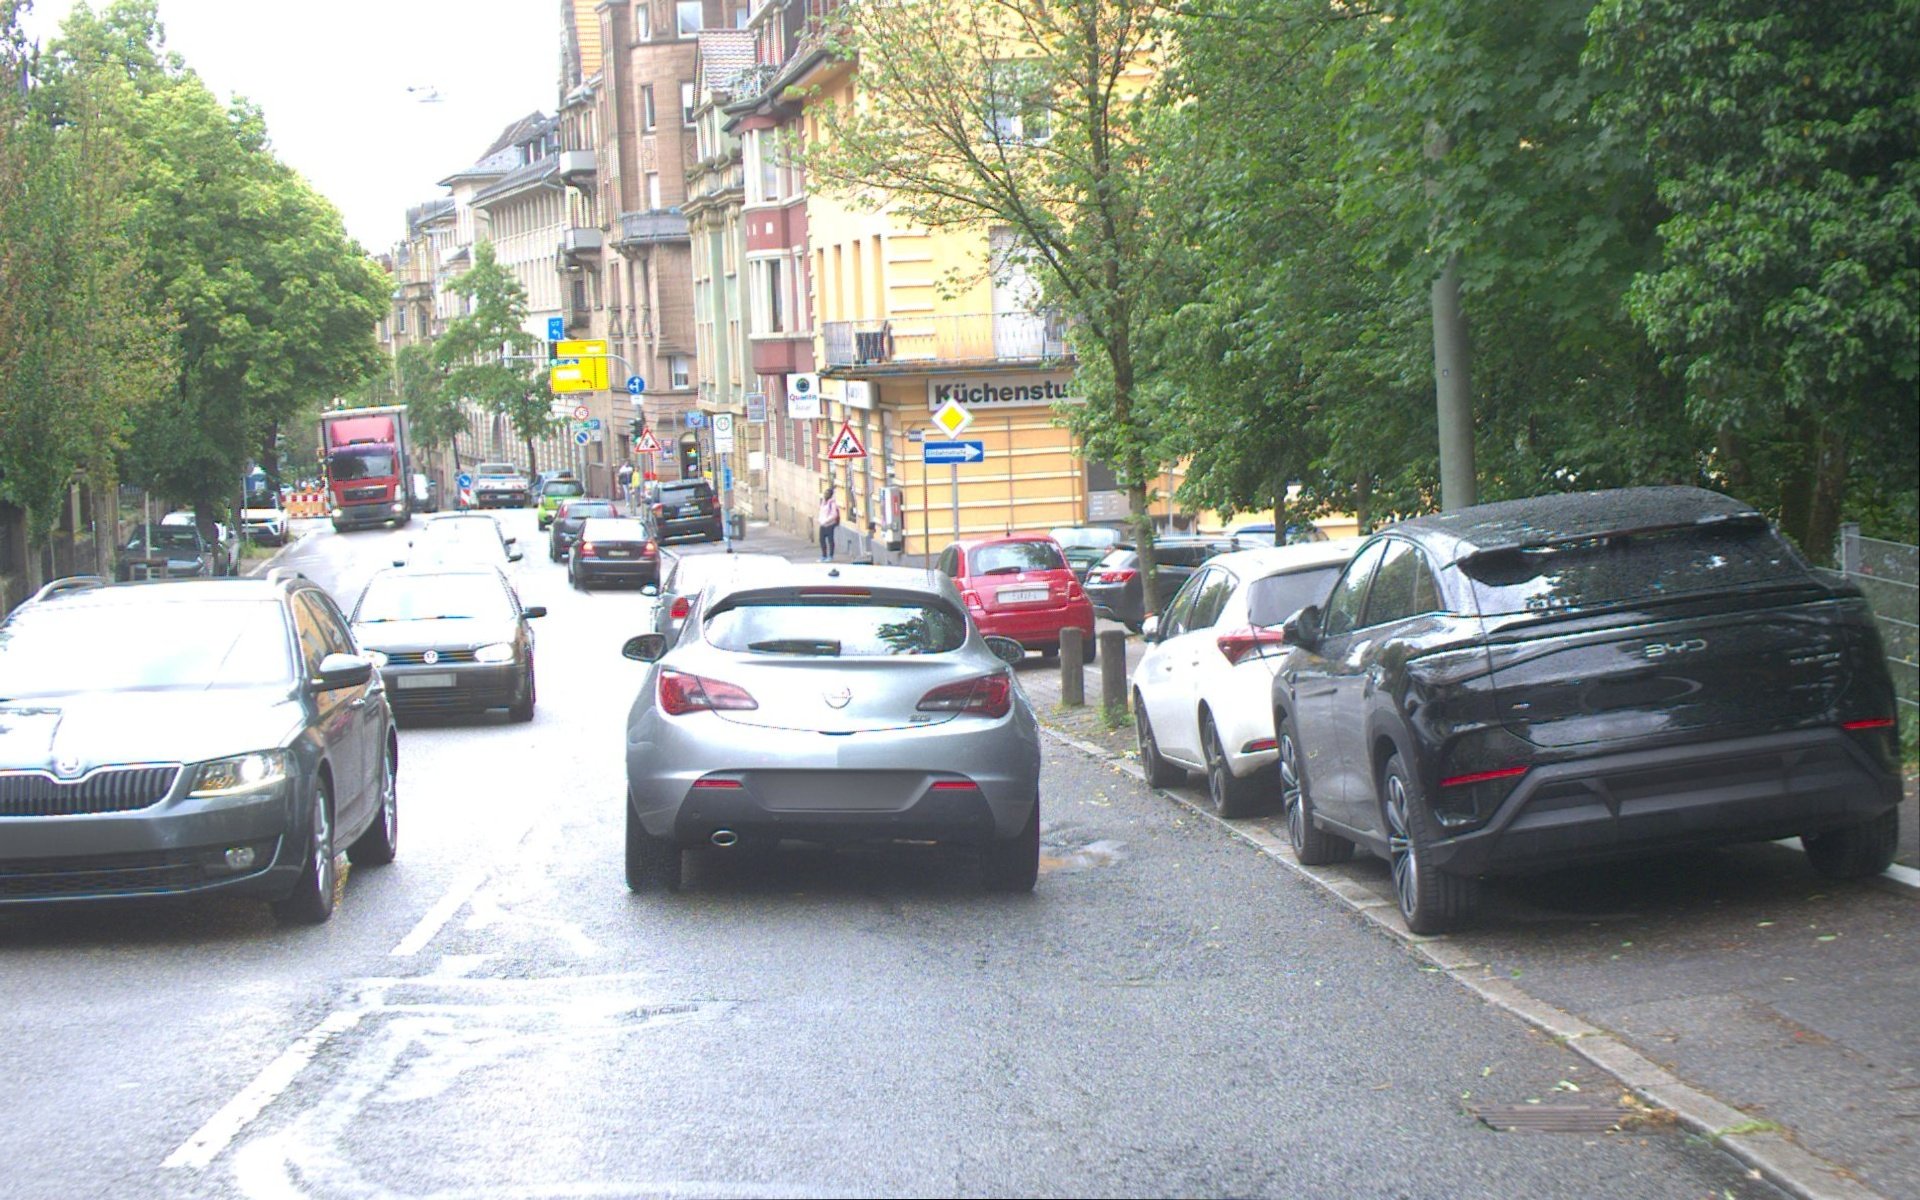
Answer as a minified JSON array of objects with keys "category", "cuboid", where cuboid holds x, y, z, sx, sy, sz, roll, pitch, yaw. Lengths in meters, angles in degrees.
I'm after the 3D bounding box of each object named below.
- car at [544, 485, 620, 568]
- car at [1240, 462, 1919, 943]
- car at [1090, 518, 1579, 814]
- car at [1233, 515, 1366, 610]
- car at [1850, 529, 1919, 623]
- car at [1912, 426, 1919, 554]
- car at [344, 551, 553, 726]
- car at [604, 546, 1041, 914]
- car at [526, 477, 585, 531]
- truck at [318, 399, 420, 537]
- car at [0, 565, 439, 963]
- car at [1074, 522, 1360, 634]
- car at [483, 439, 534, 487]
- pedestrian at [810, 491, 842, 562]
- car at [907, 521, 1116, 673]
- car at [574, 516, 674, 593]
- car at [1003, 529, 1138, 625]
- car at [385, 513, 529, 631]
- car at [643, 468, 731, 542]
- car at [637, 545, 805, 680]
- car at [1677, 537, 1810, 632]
[{"category":"car","cuboid":[-8.982,-1.766,81.439,1.640,1.683,3.719,-2,5,-8]},{"category":"car","cuboid":[2.528,0.358,14.682,1.976,1.604,4.485,-4,0,-3]},{"category":"car","cuboid":[2.091,0.350,20.467,1.975,1.447,4.115,-4,0,-6]},{"category":"car","cuboid":[5.756,-0.654,57.971,1.777,1.424,3.784,0,3,12]},{"category":"car","cuboid":[16.409,-0.438,59.171,1.778,1.424,3.782,1,3,20]},{"category":"car","cuboid":[2.837,0.485,4.384,1.821,1.677,4.804,-4,1,0]},{"category":"car","cuboid":[-4.658,0.321,31.751,1.660,1.443,3.994,-2,0,-6]},{"category":"car","cuboid":[-0.680,0.518,16.518,1.814,1.425,4.001,-1,2,-3]},{"category":"car","cuboid":[-12.116,-2.869,102.884,1.640,1.531,3.717,-2,1,-8]},{"category":"truck","cuboid":[-19.607,-4.482,114.231,2.788,4.117,10.856,-6,4,-9]},{"category":"car","cuboid":[-3.519,0.623,15.404,1.738,1.468,4.282,-2,1,-1]},{"category":"car","cuboid":[3.683,-0.310,49.658,3.772,1.425,1.782,2,0,-8]},{"category":"car","cuboid":[-18.533,-5.604,140.983,1.781,1.848,4.001,-1,0,-11]},{"category":"pedestrian","cuboid":[-2.876,-1.582,73.781,0.613,1.491,0.553,-2,4,-5]},{"category":"car","cuboid":[0.538,-0.044,39.493,1.814,1.462,4.001,-6,1,-6]},{"category":"car","cuboid":[-6.495,-0.900,66.196,1.767,1.410,3.718,0,2,-8]},{"category":"car","cuboid":[1.863,-0.400,56.702,1.777,1.425,3.785,0,3,9]},{"category":"car","cuboid":[-7.684,-0.460,52.797,1.822,1.645,4.001,-3,1,-4]},{"category":"car","cuboid":[-7.199,-2.479,90.406,1.993,1.683,4.001,-7,1,-6]},{"category":"car","cuboid":[-2.736,0.119,38.758,1.776,1.425,3.786,0,0,-5]},{"category":"car","cuboid":[13.417,-0.293,58.750,1.778,1.424,3.782,1,3,20]}]
